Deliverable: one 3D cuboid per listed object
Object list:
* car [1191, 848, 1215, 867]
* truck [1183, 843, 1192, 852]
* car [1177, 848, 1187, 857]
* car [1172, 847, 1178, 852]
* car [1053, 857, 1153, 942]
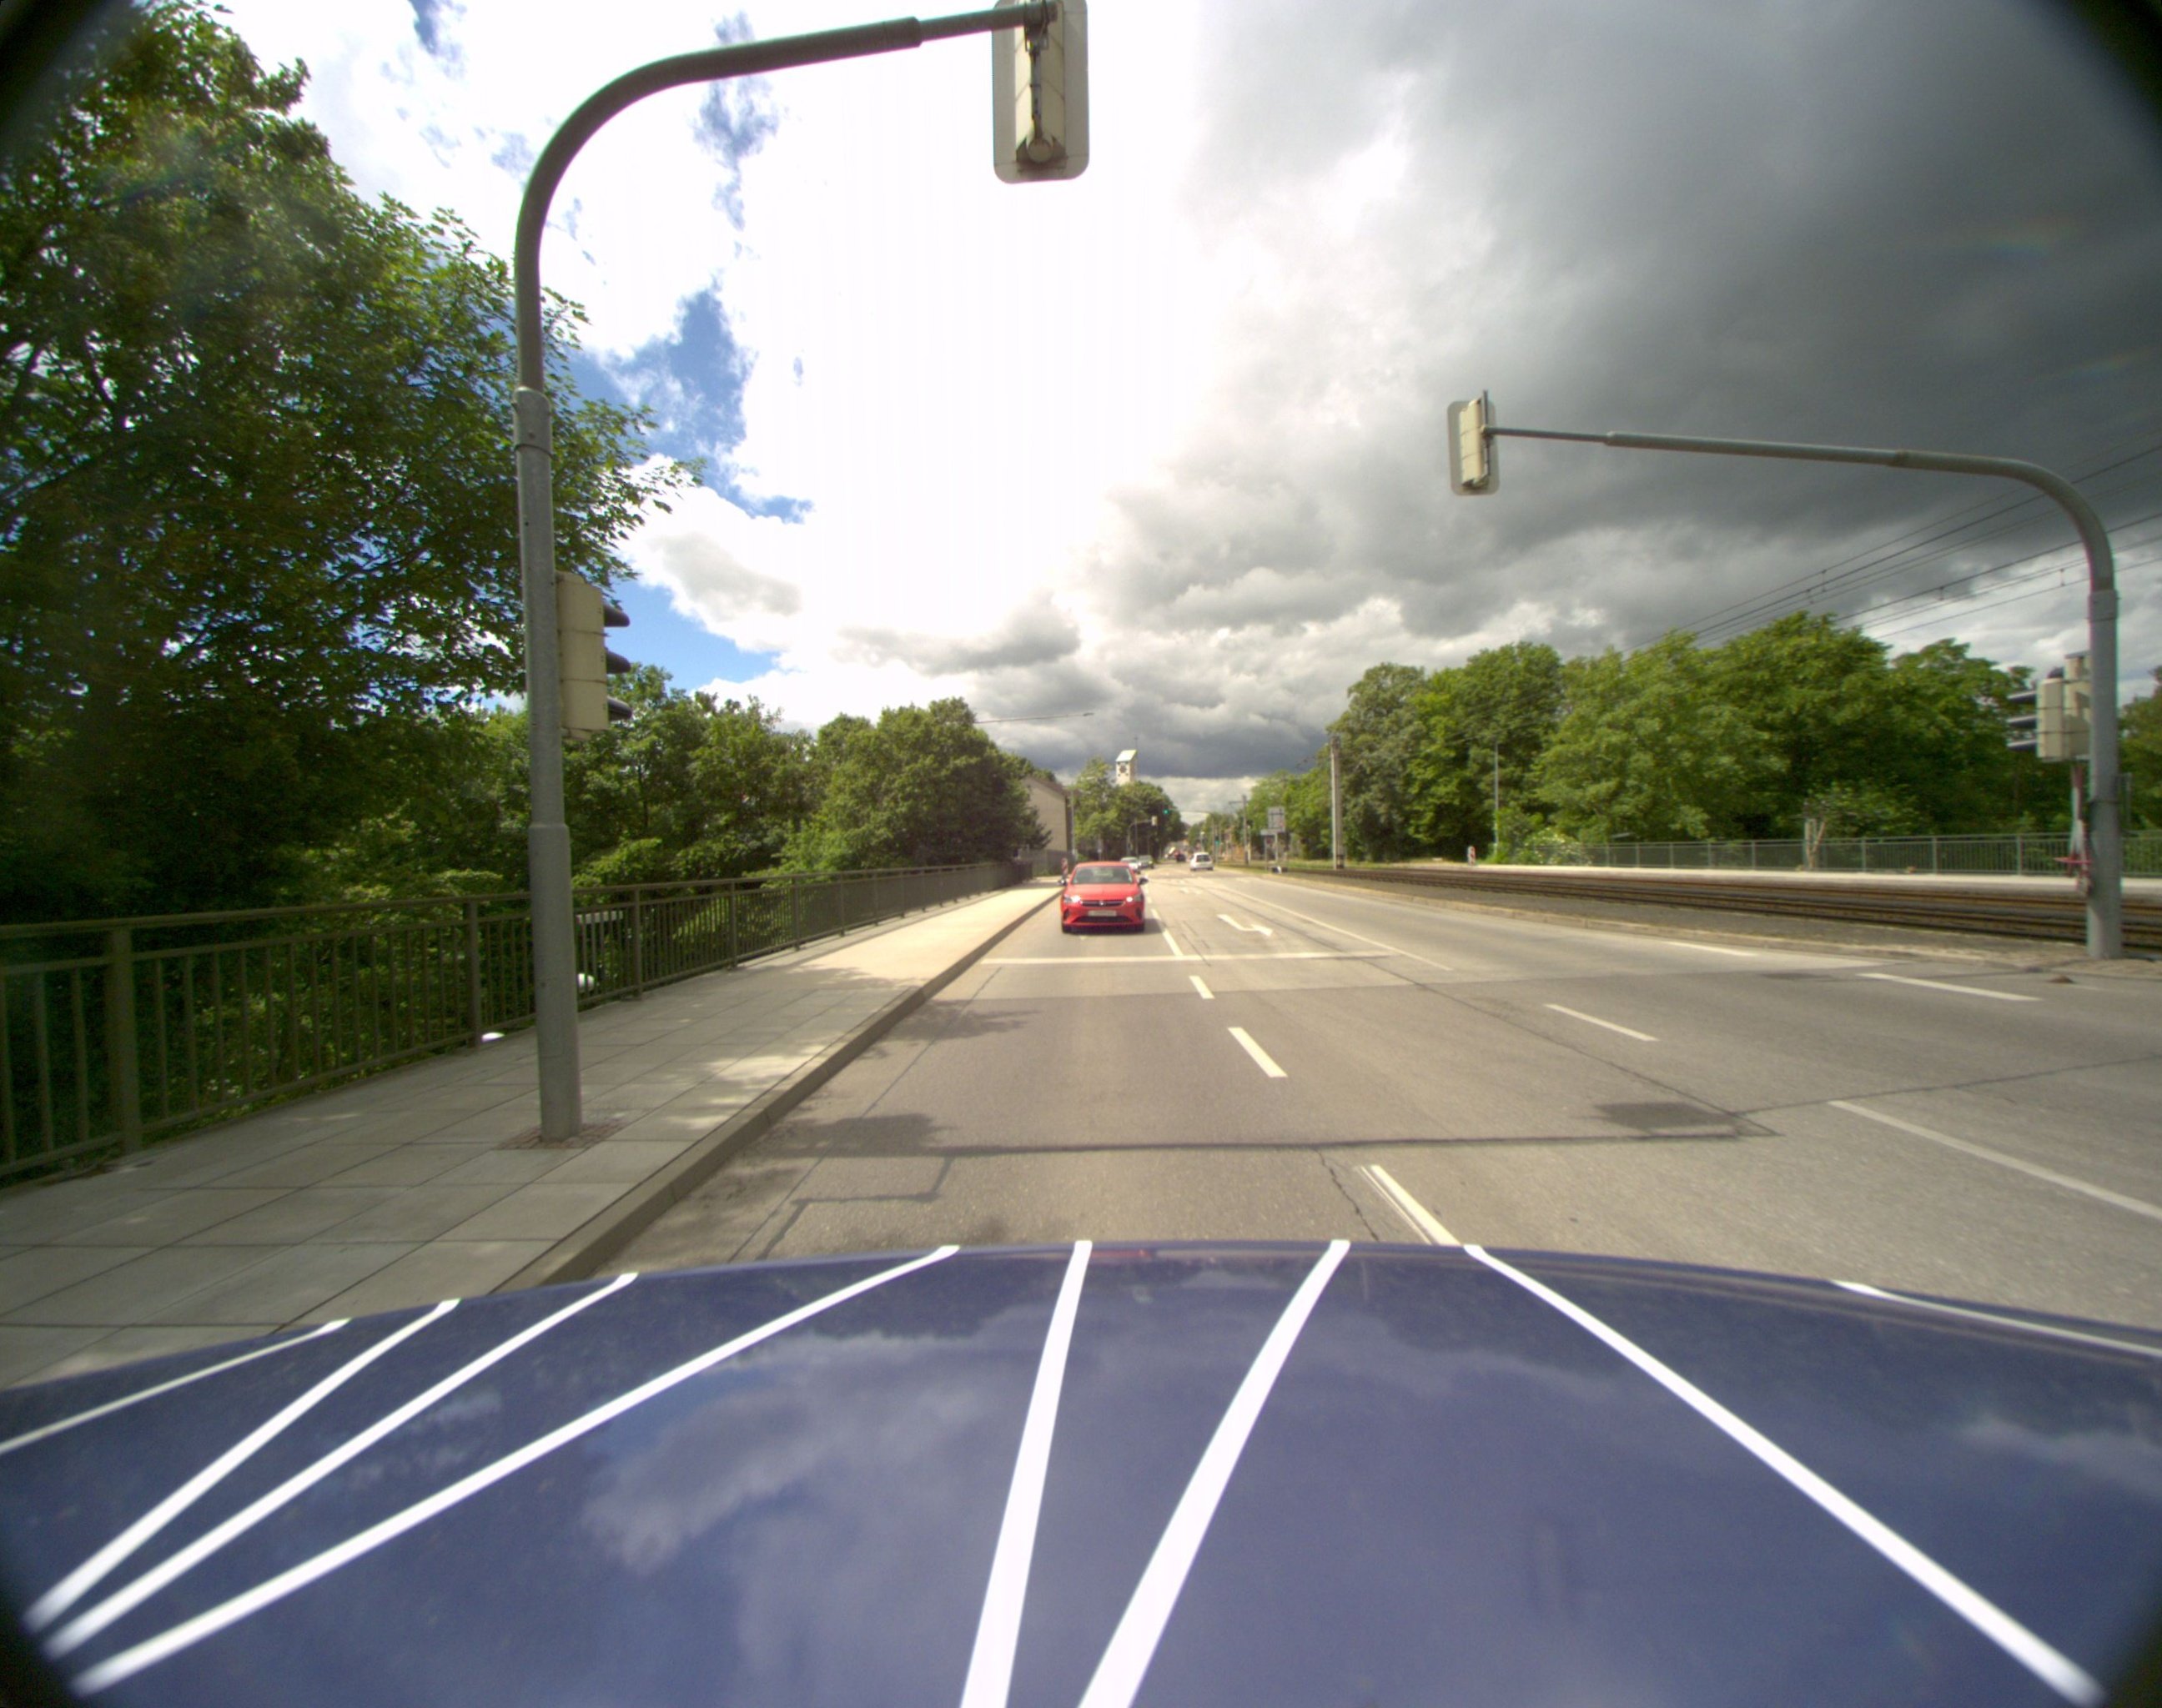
[{"bbox_3d":[10.382,0.252,64.604,1.597,1.518,3.655,-2,1,3],"label":"car"},{"bbox_3d":[32.147,-2.020,229.510,2.095,2.723,5.099,-4,1,5],"label":"truck"},{"bbox_3d":[19.534,-0.302,146.534,1.711,1.666,4.230,-4,0,6],"label":"car"},{"bbox_3d":[30.014,-1.312,241.699,1.584,1.476,3.809,-4,0,12],"label":"car"},{"bbox_3d":[0.566,0.827,15.664,1.665,1.513,3.788,0,0,8],"label":"car"}]
